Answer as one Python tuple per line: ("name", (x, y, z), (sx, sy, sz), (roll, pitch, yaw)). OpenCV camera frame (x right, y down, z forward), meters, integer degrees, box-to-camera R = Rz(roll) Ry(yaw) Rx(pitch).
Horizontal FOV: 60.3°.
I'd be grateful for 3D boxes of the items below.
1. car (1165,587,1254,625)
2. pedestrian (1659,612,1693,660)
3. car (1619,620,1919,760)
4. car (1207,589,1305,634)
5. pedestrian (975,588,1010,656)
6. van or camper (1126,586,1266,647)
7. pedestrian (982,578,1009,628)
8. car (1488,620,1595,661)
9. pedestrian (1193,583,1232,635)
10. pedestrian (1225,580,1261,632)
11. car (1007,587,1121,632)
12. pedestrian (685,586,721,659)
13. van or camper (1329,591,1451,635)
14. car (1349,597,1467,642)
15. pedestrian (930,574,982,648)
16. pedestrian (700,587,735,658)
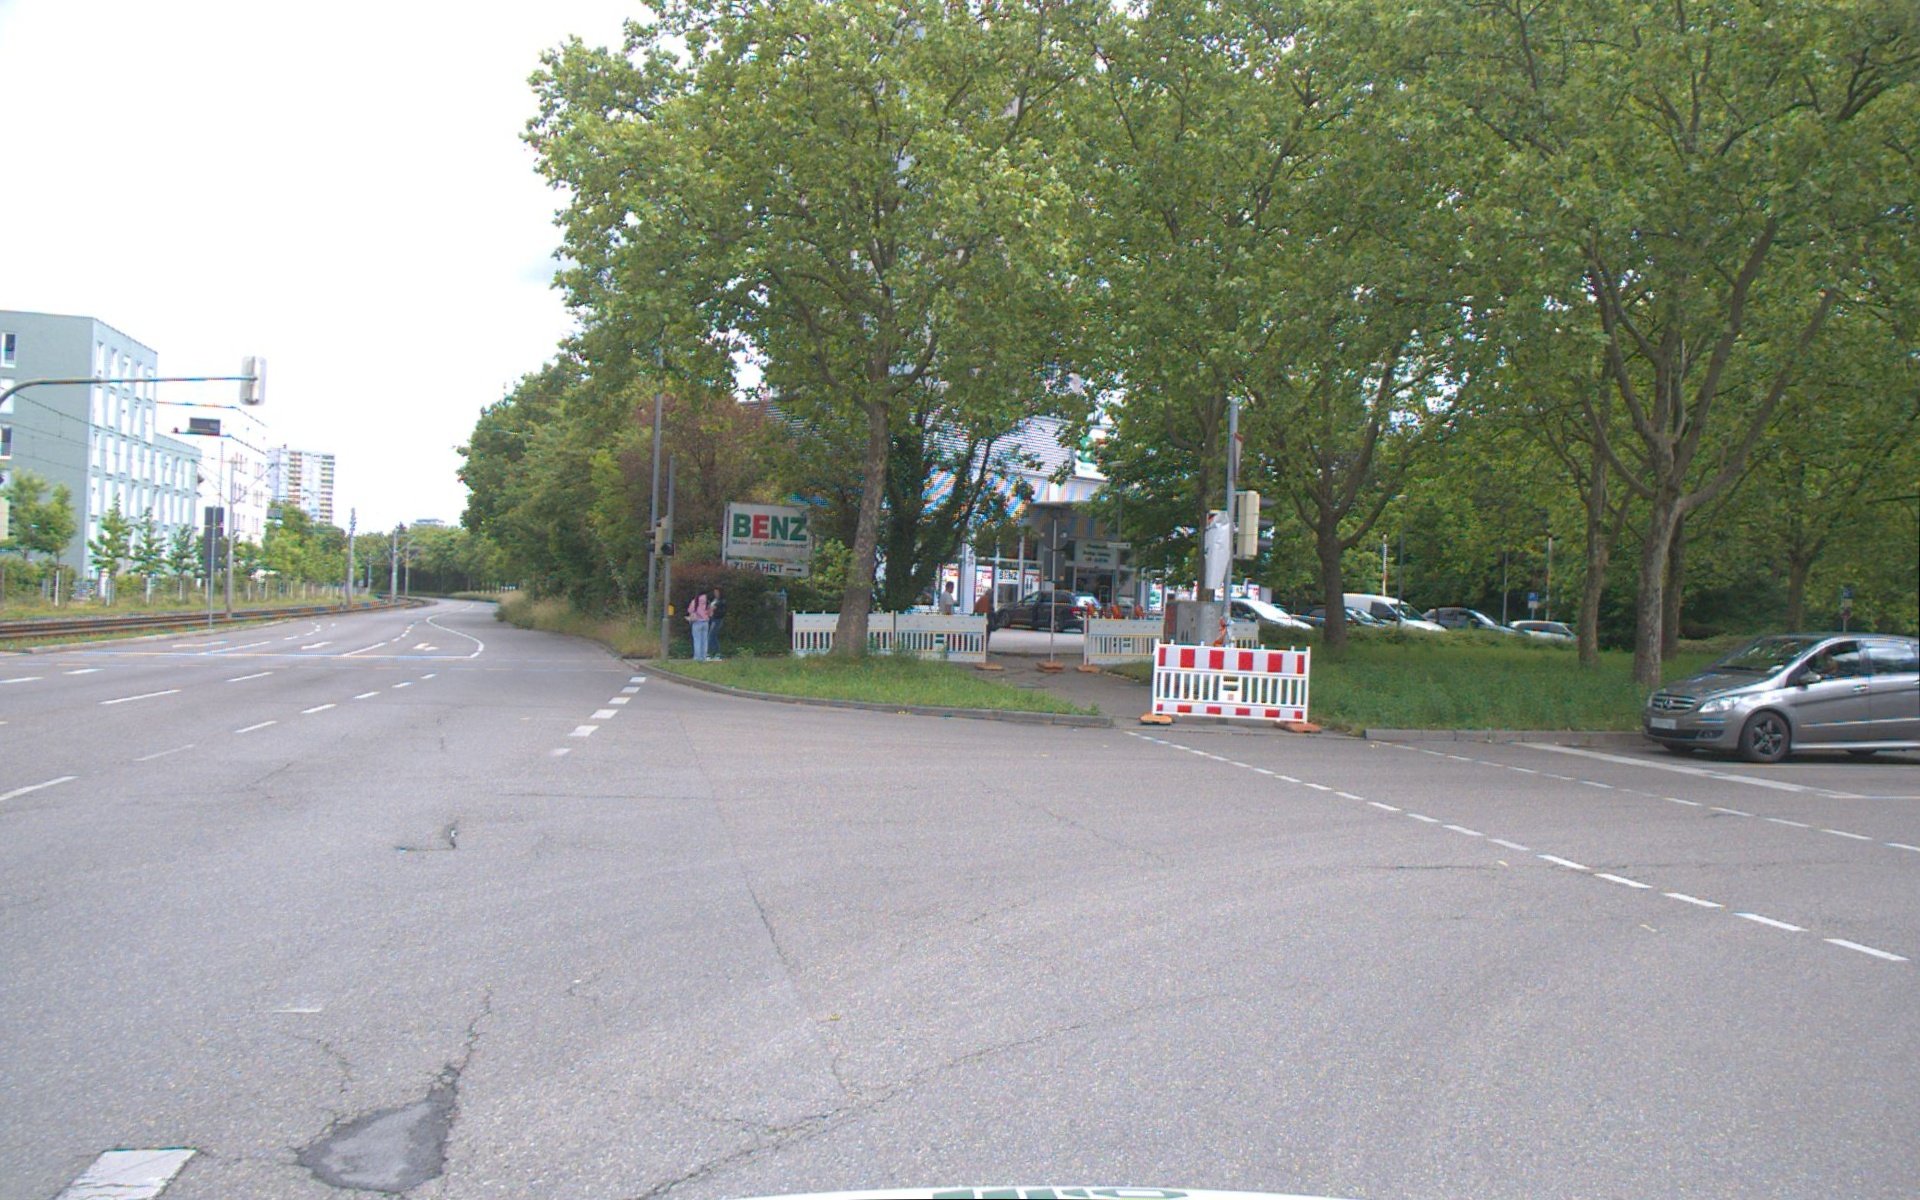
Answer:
("car", (9.945, 0.227, 66.088), (1.472, 1.429, 3.357), (3, -1, -42))
("pedestrian", (31.018, 1.577, 71.660), (0.969, 1.984, 1.078), (3, -1, 42))
("car", (10.804, 1.128, 20.924), (4.318, 1.614, 1.768), (2, -1, -10))
("car", (12.188, 0.464, 68.232), (1.658, 1.663, 3.765), (3, 0, -41))
("pedestrian", (0.760, 0.512, 38.483), (0.754, 1.565, 0.655), (1, -1, 5))
("van or camper", (6.939, 0.466, 48.953), (1.827, 1.713, 3.945), (1, 0, -38))
("pedestrian", (1.290, 0.104, 59.580), (0.614, 1.776, 0.729), (3, -2, -41))
("car", (22.984, 1.595, 65.482), (1.715, 1.526, 3.695), (2, -1, -37))
("pedestrian", (9.540, 0.338, 62.469), (1.056, 1.904, 1.053), (2, -1, -21))
("pedestrian", (8.940, 0.197, 52.267), (0.782, 1.614, 0.795), (2, -1, -19))
("car", (3.677, 0.324, 58.993), (1.715, 1.526, 4.212), (2, -1, -37))
("pedestrian", (-5.440, 0.483, 35.022), (0.684, 1.515, 0.686), (2, -1, -9))
("van or camper", (14.318, 0.408, 55.230), (1.506, 1.380, 3.715), (3, -1, -44))
("car", (15.598, 0.664, 57.707), (1.472, 1.491, 3.833), (3, -1, -41))
("pedestrian", (-0.090, 0.246, 37.200), (0.780, 1.614, 0.848), (1, -1, 36))
("pedestrian", (-5.239, 0.490, 35.800), (0.684, 1.515, 0.719), (2, -1, -7))
